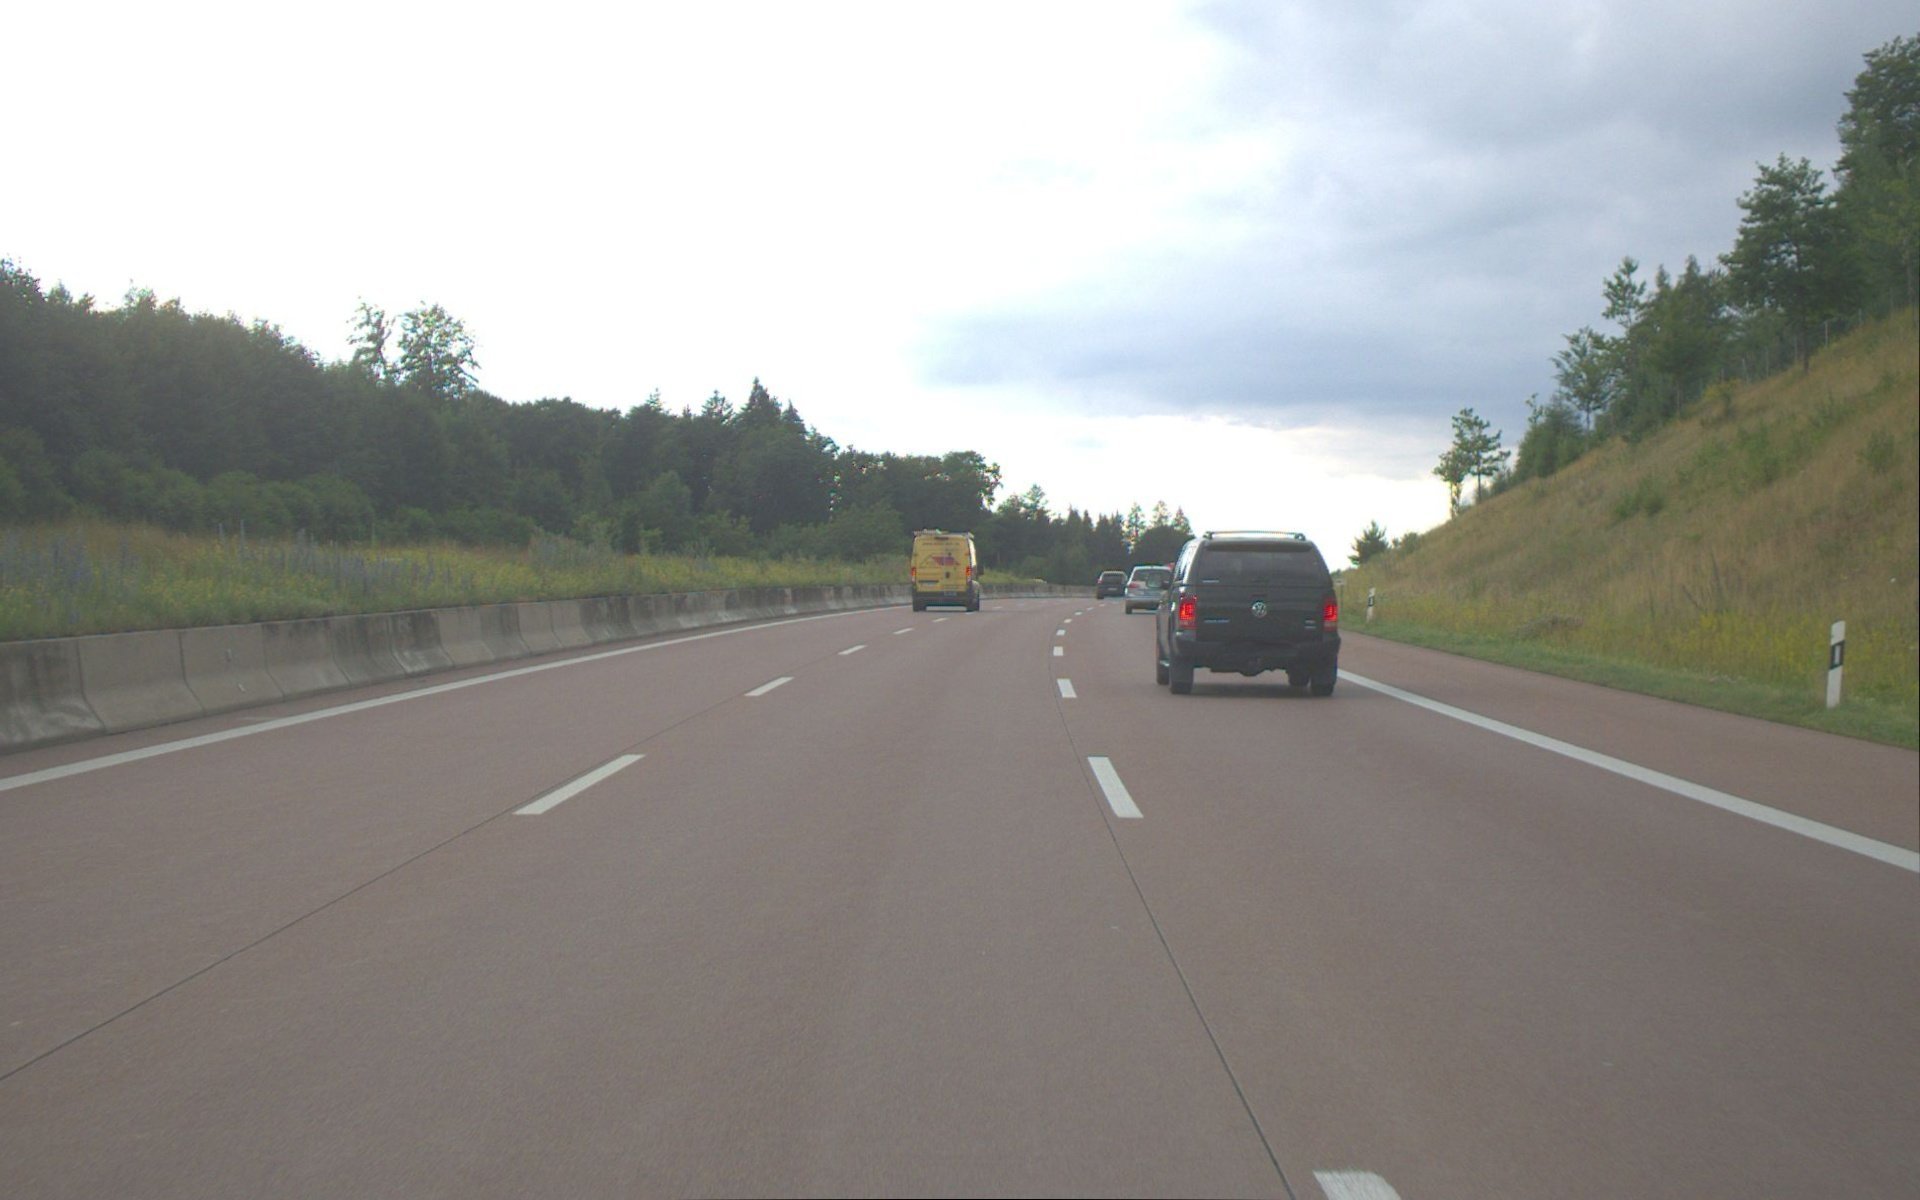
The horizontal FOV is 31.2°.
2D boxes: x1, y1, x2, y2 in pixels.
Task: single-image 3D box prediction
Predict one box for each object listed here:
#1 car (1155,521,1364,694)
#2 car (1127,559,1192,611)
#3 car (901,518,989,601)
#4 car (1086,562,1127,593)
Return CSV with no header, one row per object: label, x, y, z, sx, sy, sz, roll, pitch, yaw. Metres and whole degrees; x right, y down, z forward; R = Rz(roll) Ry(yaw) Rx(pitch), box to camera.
car,3.453,0.091,40.615,2.044,1.890,5.577,0,0,1
car,6.556,-0.503,113.554,1.978,1.642,4.619,1,0,2
car,-0.480,-1.326,116.155,2.459,2.697,5.612,0,0,5
car,8.564,-1.305,200.668,1.888,1.758,4.996,0,0,8
